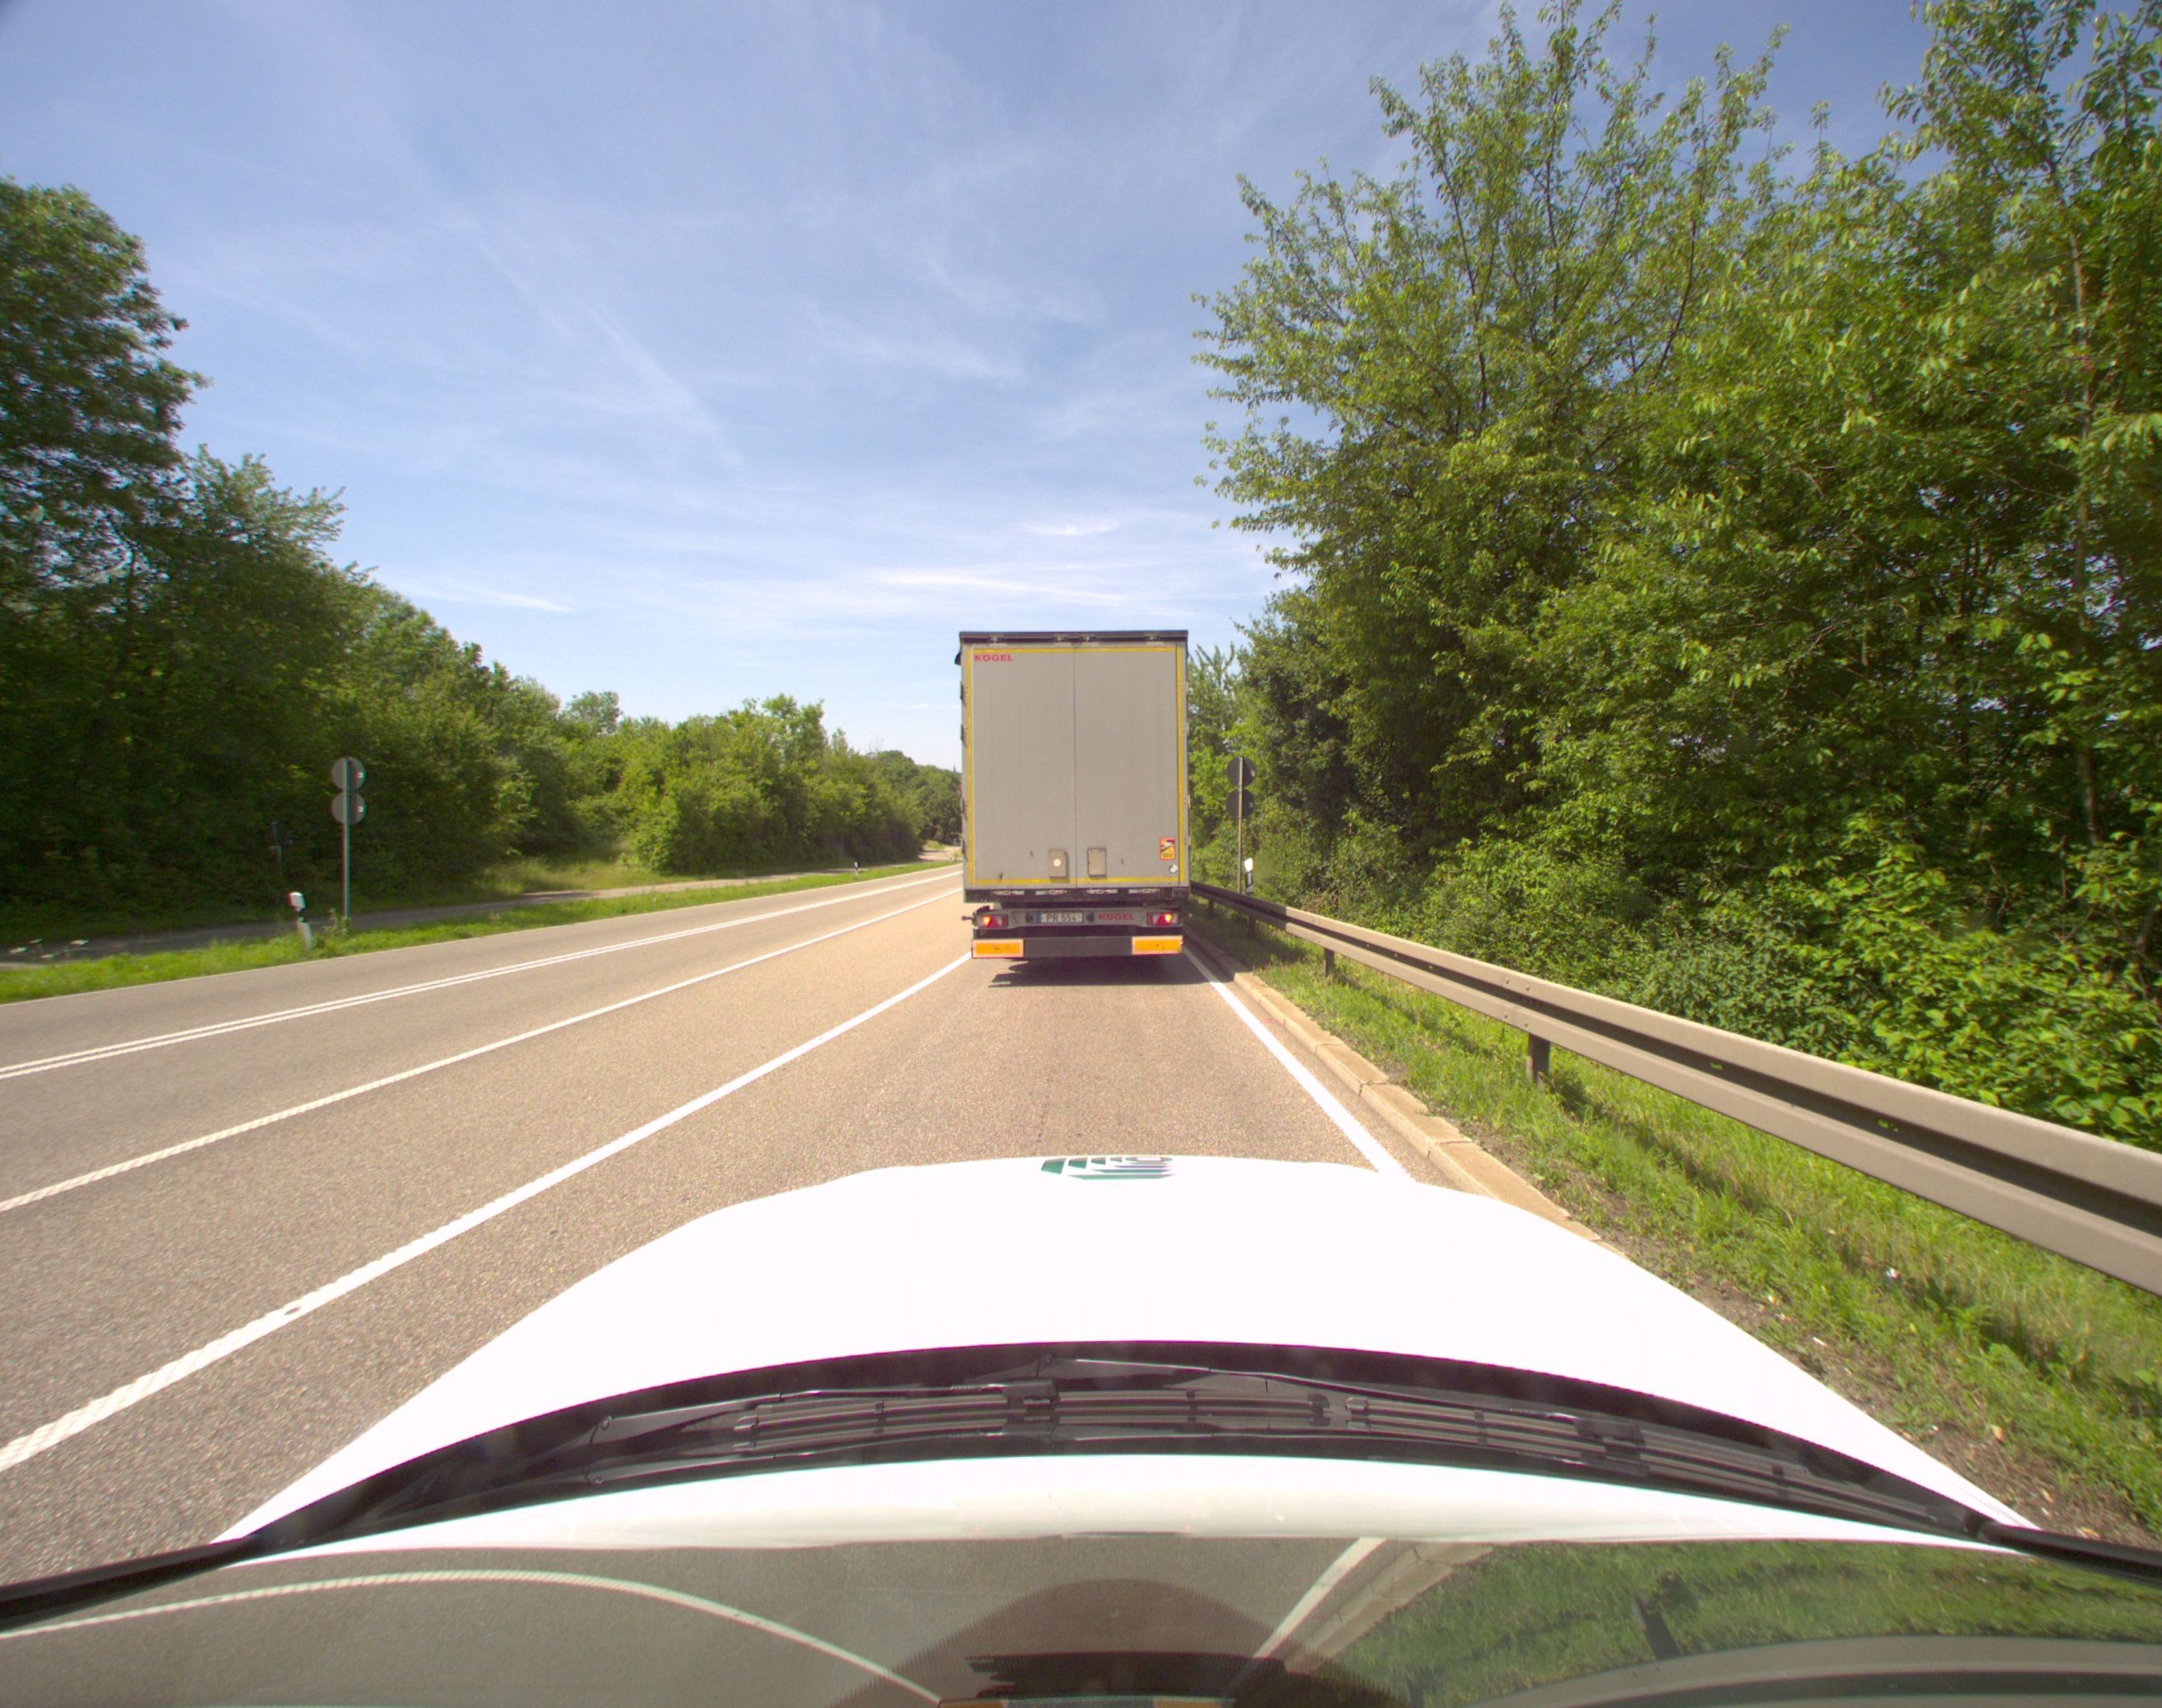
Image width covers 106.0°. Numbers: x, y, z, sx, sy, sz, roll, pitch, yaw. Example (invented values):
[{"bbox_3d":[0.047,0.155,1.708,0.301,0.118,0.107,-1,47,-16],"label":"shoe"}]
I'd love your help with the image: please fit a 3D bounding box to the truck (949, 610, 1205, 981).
[{"bbox_3d":[0.070,-0.672,14.880,2.747,4.029,11.926,-1,0,1],"label":"truck"}]
